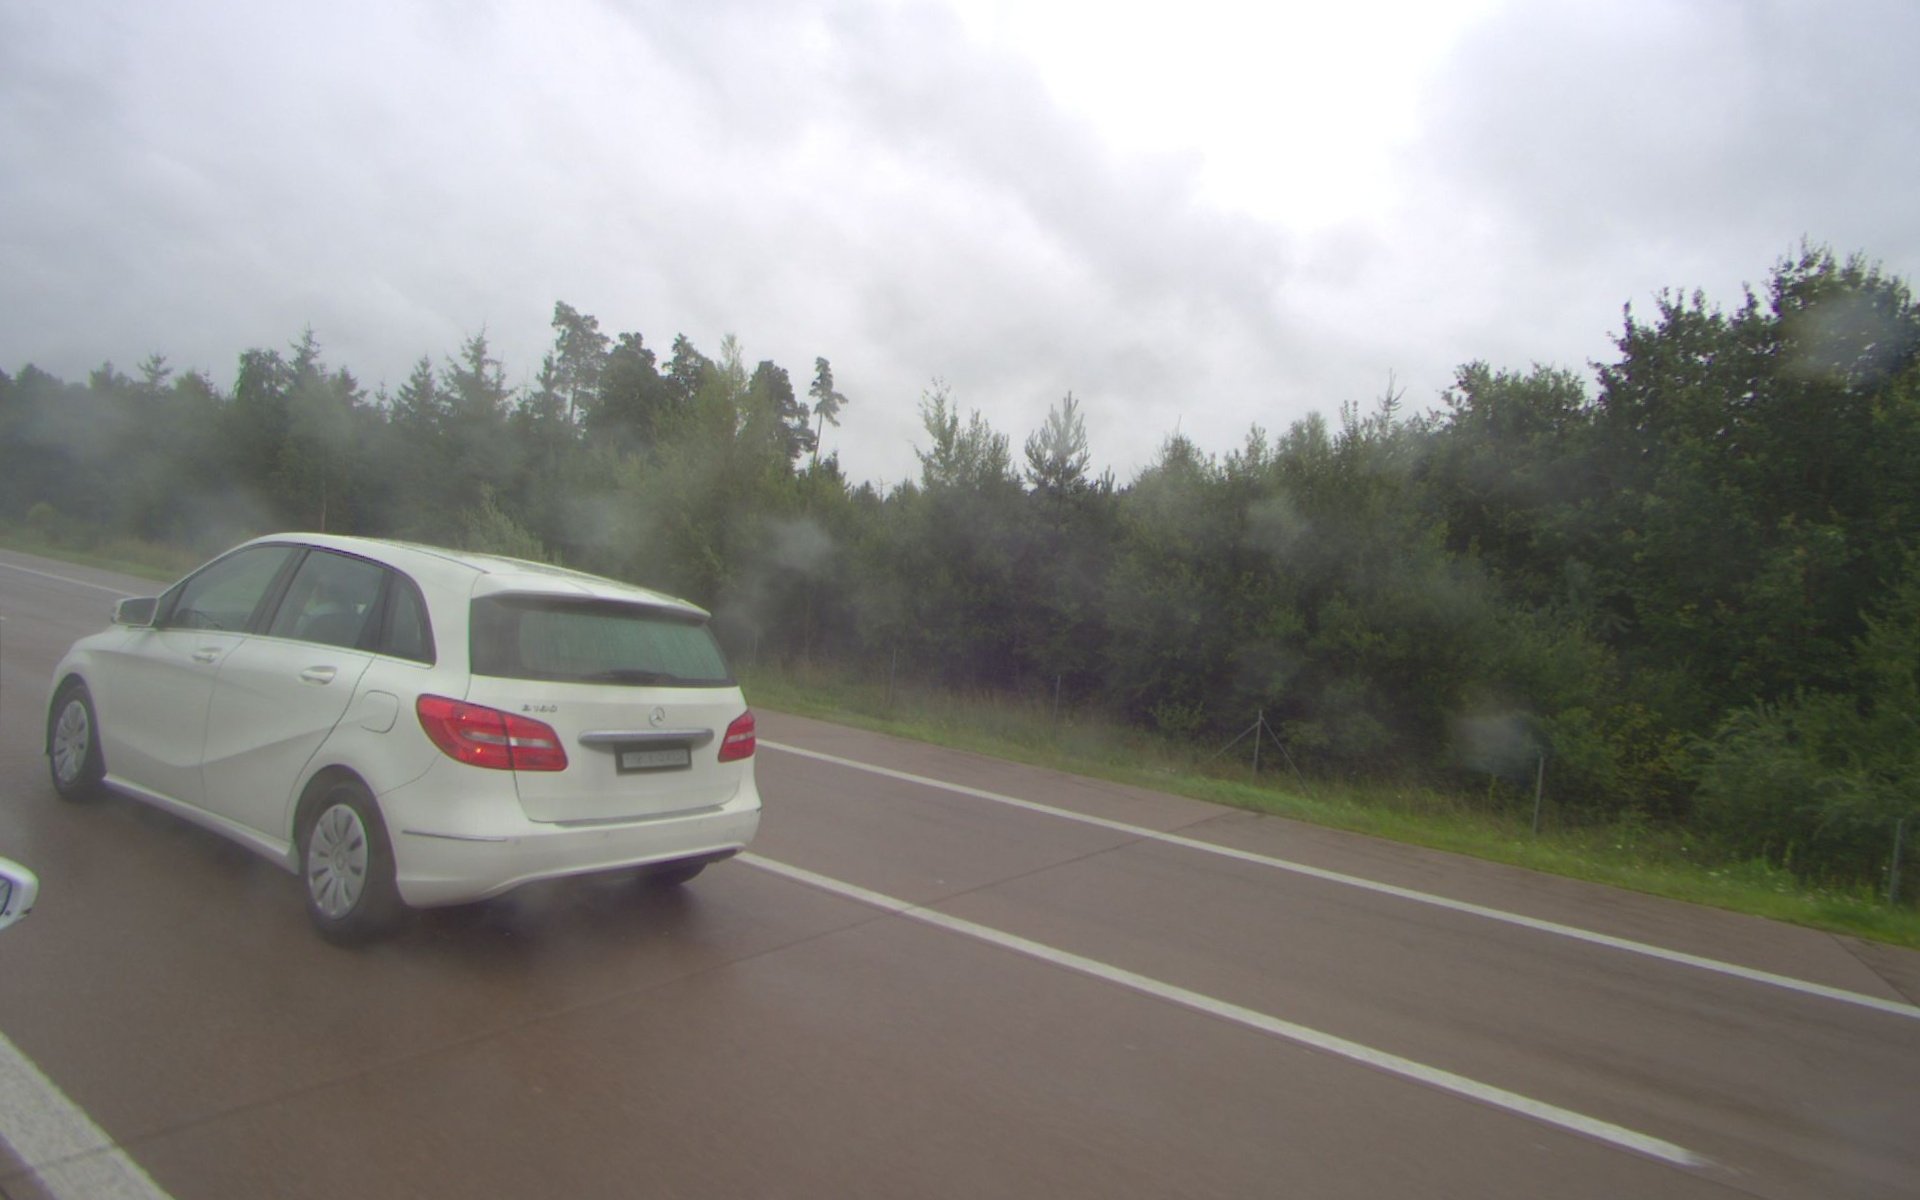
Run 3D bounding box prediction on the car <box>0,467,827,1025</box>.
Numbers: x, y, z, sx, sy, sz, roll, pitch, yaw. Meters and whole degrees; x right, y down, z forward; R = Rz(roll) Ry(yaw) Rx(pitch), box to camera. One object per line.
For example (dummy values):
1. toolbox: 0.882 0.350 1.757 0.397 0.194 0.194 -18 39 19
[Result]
1. car: -3.205 0.427 5.369 4.664 1.748 1.812 7 -2 31
